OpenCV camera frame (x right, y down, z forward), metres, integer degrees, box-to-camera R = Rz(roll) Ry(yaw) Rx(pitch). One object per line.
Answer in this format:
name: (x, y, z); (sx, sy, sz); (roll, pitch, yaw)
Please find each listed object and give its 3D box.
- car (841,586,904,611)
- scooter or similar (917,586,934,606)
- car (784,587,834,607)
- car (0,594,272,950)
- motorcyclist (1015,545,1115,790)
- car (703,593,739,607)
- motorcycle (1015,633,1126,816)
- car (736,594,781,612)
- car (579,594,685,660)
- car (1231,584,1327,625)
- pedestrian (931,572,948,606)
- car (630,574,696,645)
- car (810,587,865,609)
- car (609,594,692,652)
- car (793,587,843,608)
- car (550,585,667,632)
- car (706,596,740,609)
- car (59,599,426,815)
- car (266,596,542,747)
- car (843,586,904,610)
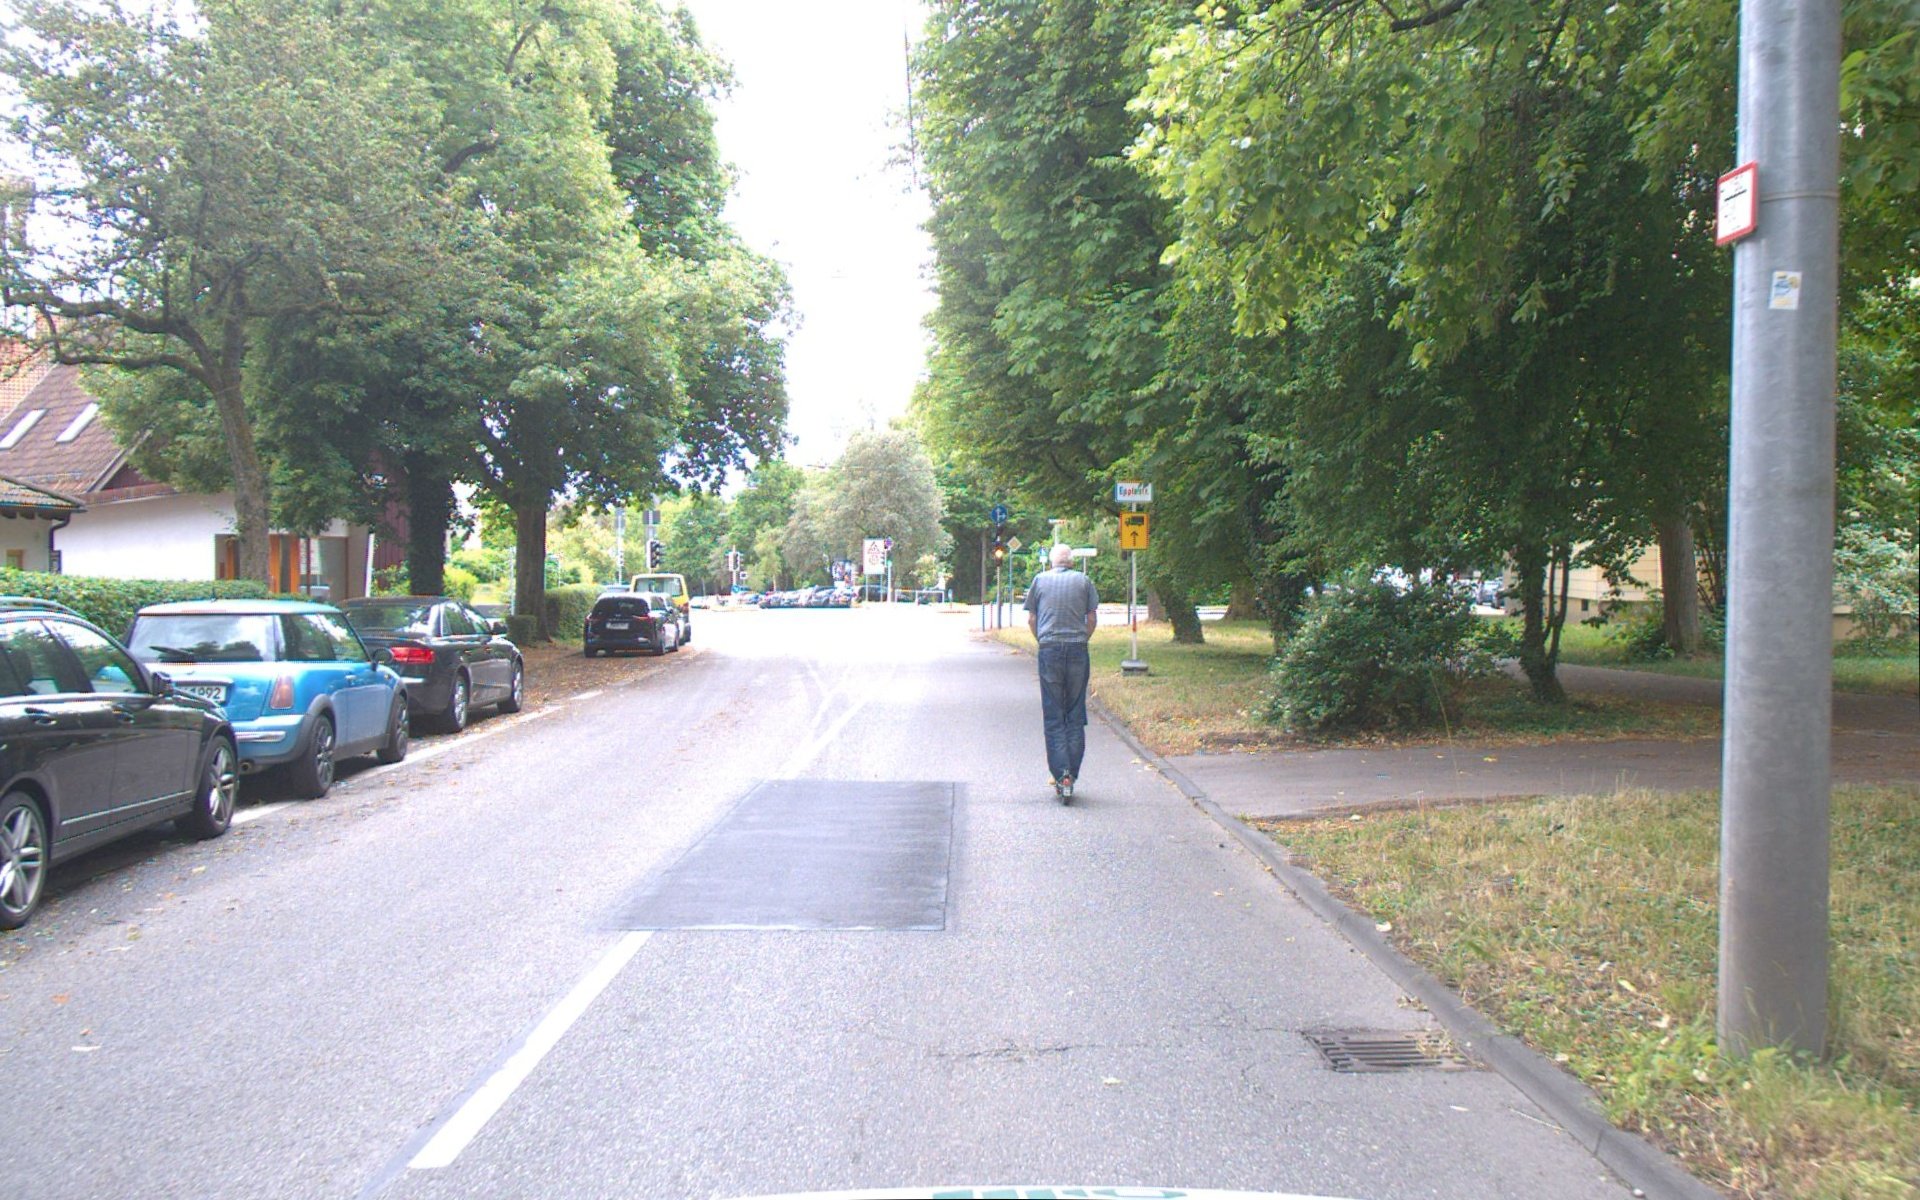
car: (-5.628, -0.105, 106.476); (3.911, 1.536, 1.797); (-1, 0, -7)
scooter or similar: (-1.821, -0.202, 87.774); (0.695, 1.067, 0.788); (-1, 0, 15)
car: (-12.099, -0.215, 132.617); (3.911, 1.536, 1.797); (-1, 0, -7)
car: (-5.121, 0.738, 8.466); (1.760, 1.498, 4.412); (-1, 0, -6)
motorcyclist: (0.783, 0.495, 12.467); (0.659, 1.792, 0.638); (1, 0, -3)
car: (-26.764, -0.013, 185.297); (3.911, 1.536, 1.797); (-1, 0, -7)
motorcycle: (0.795, 0.883, 12.220); (0.659, 1.239, 1.273); (1, 0, -3)
car: (-17.872, 0.284, 146.614); (3.911, 1.536, 1.797); (-1, 0, -7)
car: (-7.675, 0.610, 39.083); (1.854, 1.435, 4.550); (-1, 0, -4)
car: (13.624, 0.178, 70.814); (3.902, 1.584, 1.802); (1, 3, 8)
pedestrian: (-1.093, -0.573, 87.544); (0.716, 1.792, 0.662); (-1, 0, 15)
car: (-8.931, 0.282, 49.948); (1.823, 1.998, 4.494); (-1, 0, -9)
car: (-8.888, -0.153, 120.225); (3.911, 1.536, 1.797); (-1, 0, -7)
car: (-8.239, 0.578, 44.344); (1.759, 1.440, 4.185); (-1, 0, -5)
car: (-11.244, -0.214, 130.782); (3.911, 1.536, 1.797); (-1, 0, -7)
car: (-12.301, 0.292, 58.035); (3.914, 1.536, 1.796); (0, 2, -10)
car: (-28.166, 0.312, 196.902); (3.911, 1.536, 1.797); (-1, 0, -7)
car: (-5.512, 0.727, 13.209); (1.632, 1.416, 3.702); (-1, 0, -6)
car: (-6.081, 0.696, 18.683); (1.758, 1.435, 4.642); (-1, 0, -3)
car: (-5.760, -0.129, 110.052); (3.911, 1.536, 1.797); (-1, 0, -7)
